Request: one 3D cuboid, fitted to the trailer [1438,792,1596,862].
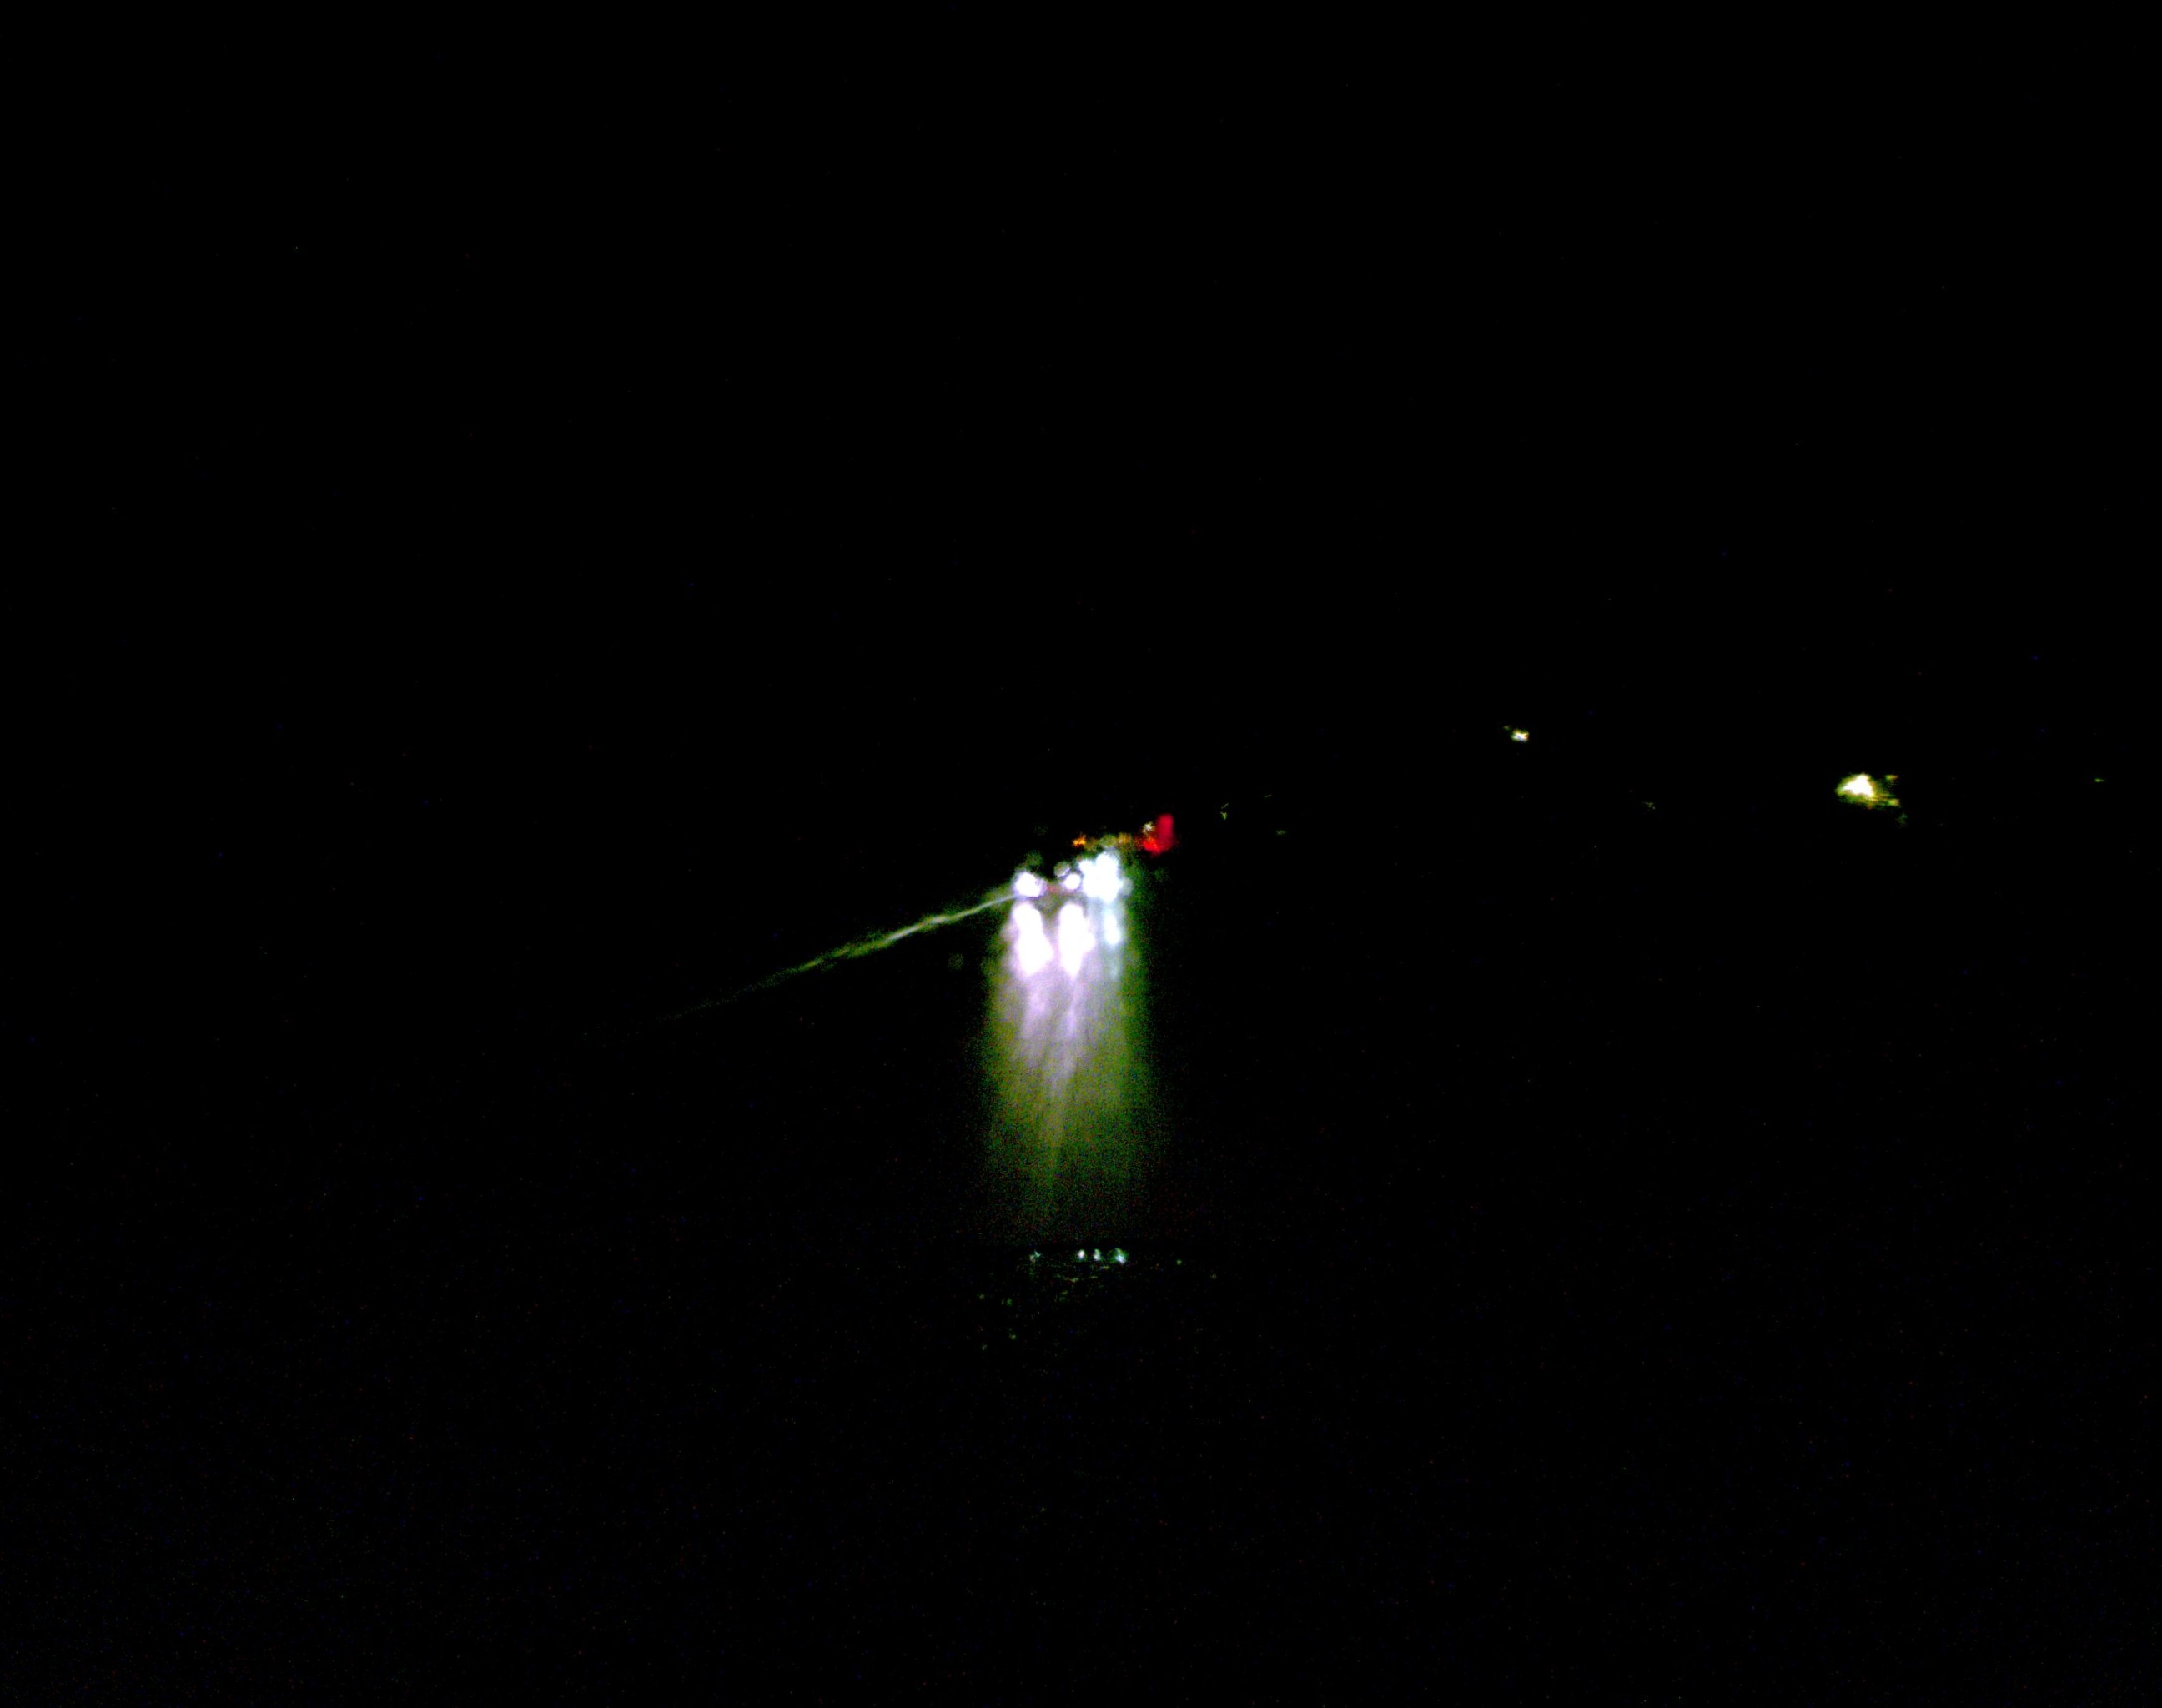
[{"bbox_3d":[34.472,-2.078,61.354,3.981,4.584,14.242,-6,1,-1],"label":"trailer"}]

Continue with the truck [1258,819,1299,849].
[{"bbox_3d":[32.758,-3.295,126.551,3.448,4.584,10.209,-6,1,-1],"label":"truck"}]

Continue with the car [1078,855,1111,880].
[{"bbox_3d":[0.921,0.928,53.517,1.789,1.638,4.434,-3,0,-5],"label":"car"}]

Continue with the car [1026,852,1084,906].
[{"bbox_3d":[-0.963,0.813,26.757,1.791,1.684,4.217,-2,0,-3],"label":"car"}]

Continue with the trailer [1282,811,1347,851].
[{"bbox_3d":[33.293,-3.233,109.432,3.981,4.984,14.830,-6,1,-1],"label":"trailer"}]

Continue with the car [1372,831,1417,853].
[{"bbox_3d":[25.964,-0.972,63.065,1.791,1.684,4.218,-4,0,-2],"label":"car"}]

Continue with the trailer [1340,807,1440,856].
[{"bbox_3d":[33.413,-2.397,83.344,3.981,4.584,15.509,-6,1,-1],"label":"trailer"}]

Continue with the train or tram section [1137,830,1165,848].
[{"bbox_3d":[17.554,-3.898,193.199,2.703,3.793,37.132,-6,1,-1],"label":"train or tram section"}]
